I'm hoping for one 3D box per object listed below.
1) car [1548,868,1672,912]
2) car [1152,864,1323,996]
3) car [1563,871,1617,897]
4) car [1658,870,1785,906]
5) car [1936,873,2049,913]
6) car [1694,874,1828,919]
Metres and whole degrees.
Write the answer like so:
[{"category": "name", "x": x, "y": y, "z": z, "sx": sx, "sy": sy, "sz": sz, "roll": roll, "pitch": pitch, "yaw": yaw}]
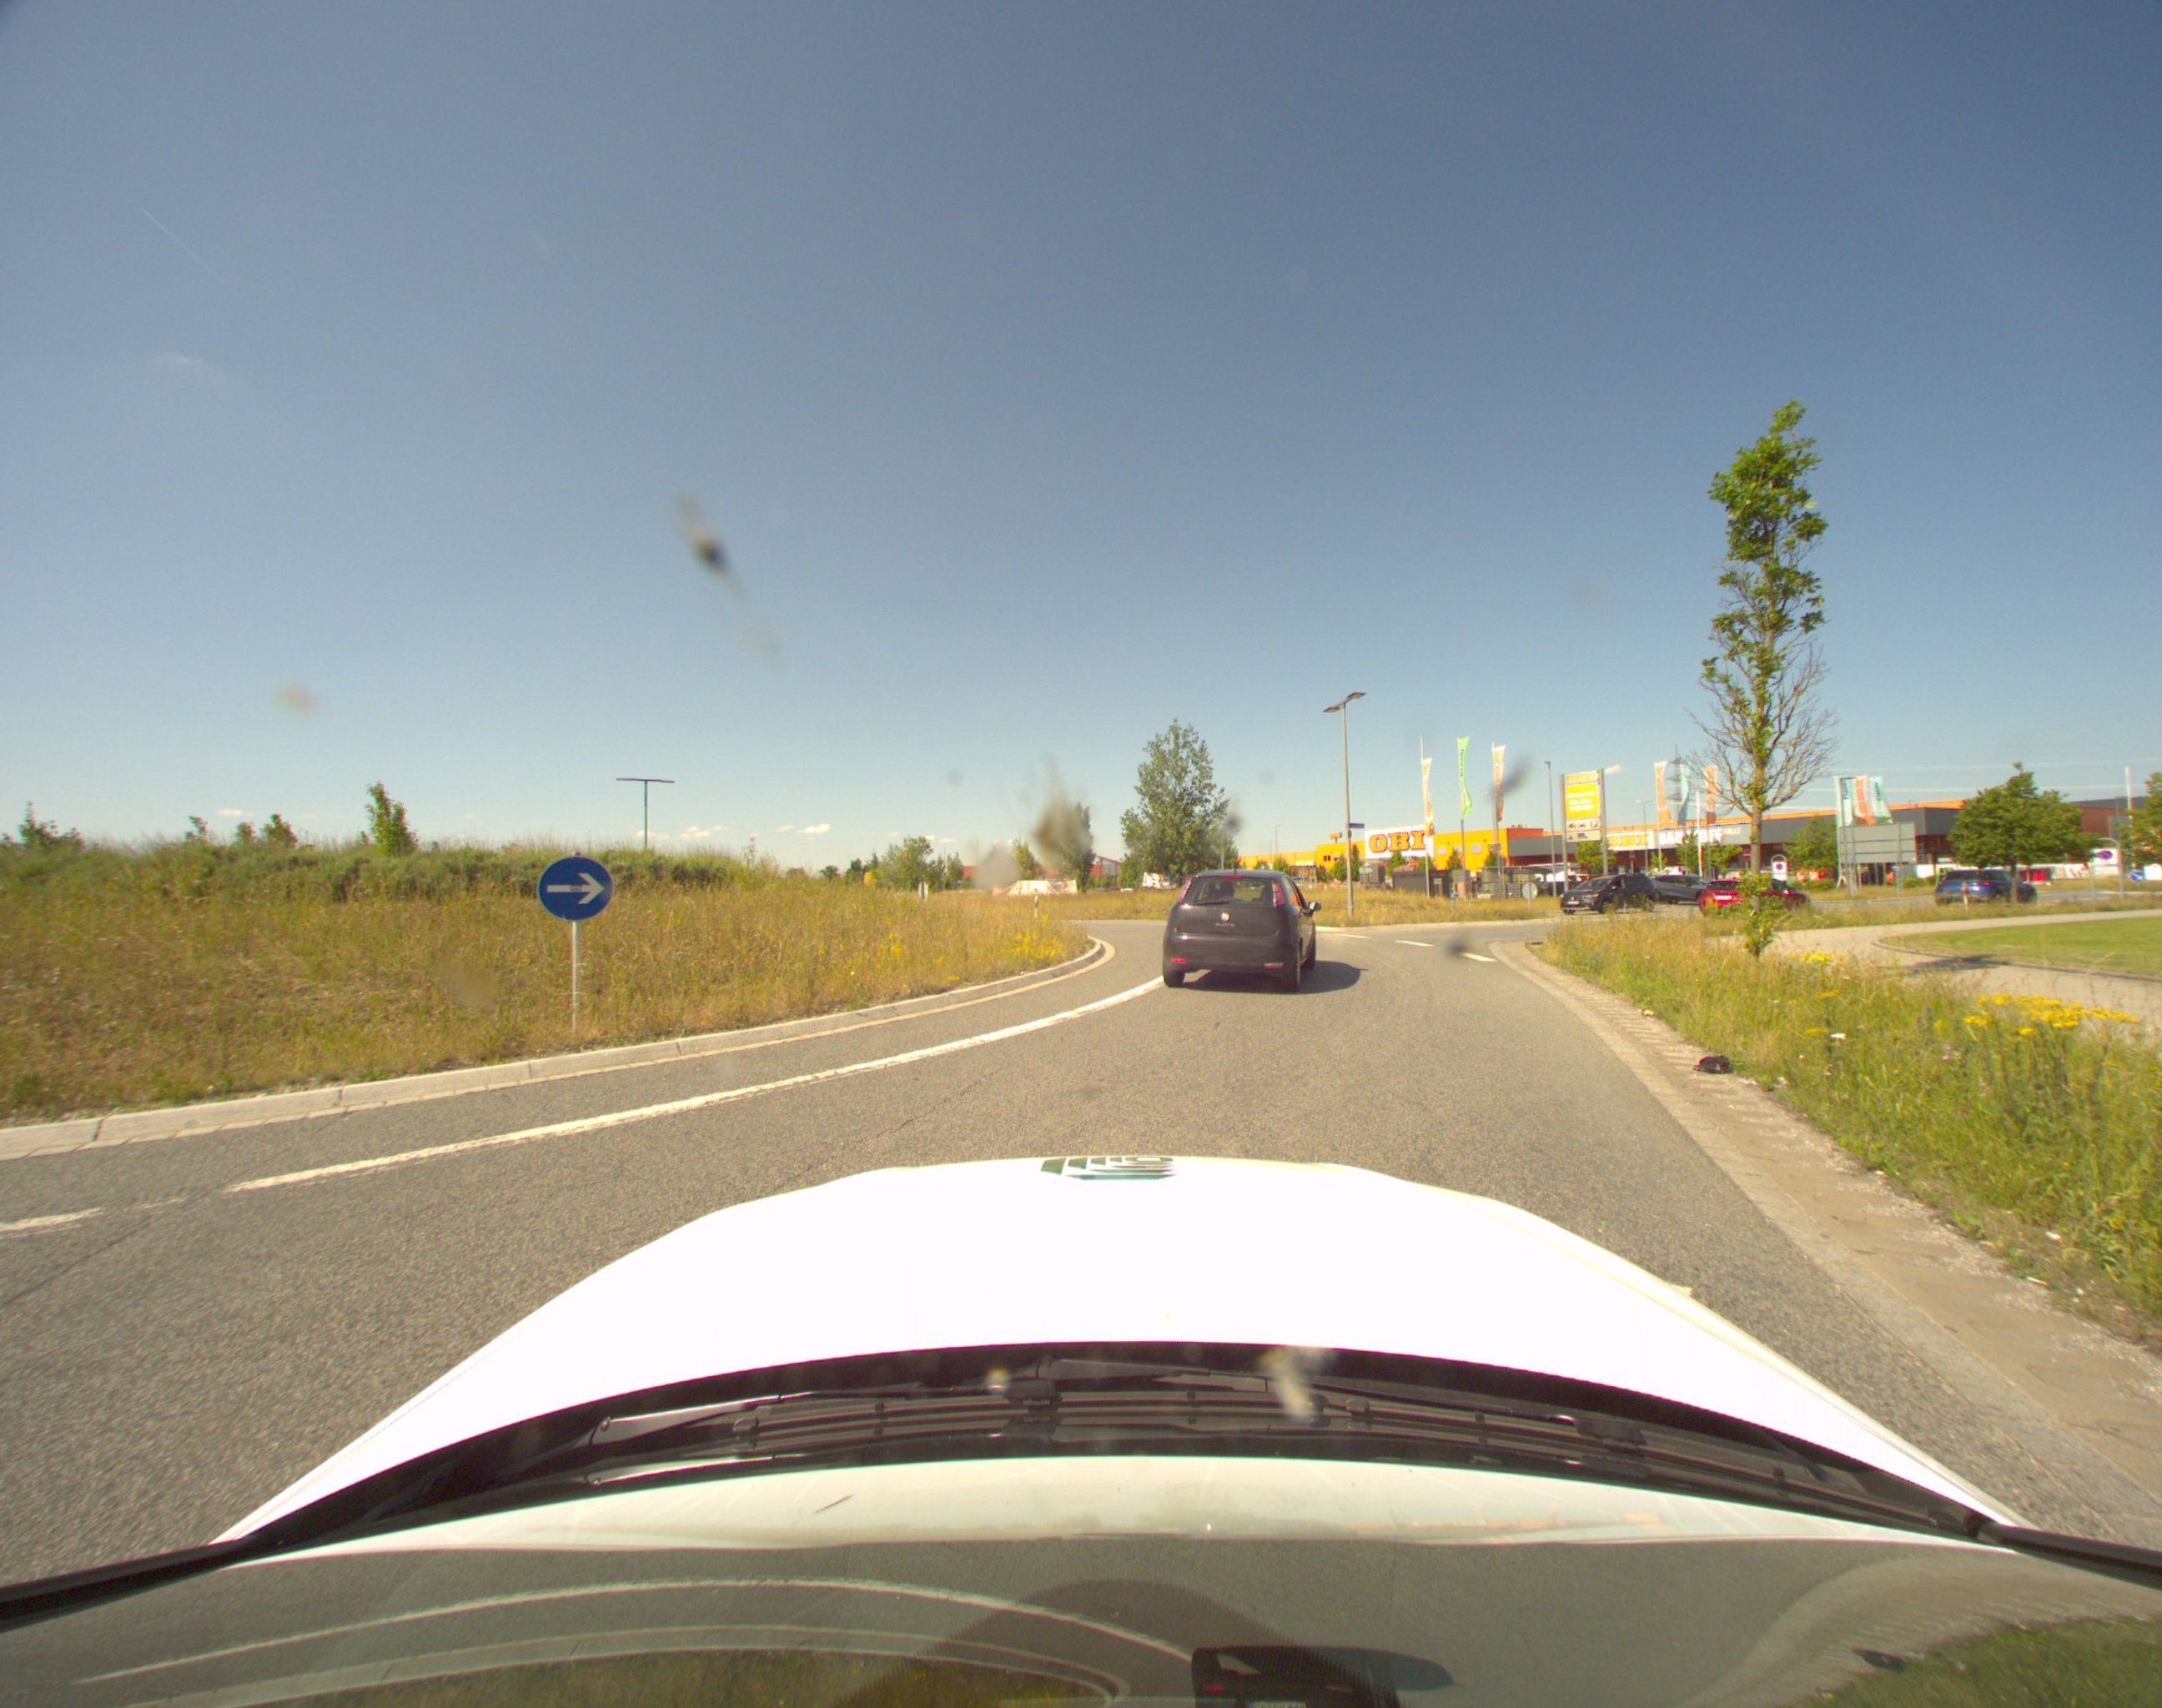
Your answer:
[{"category": "car", "x": 22.181, "y": 1.528, "z": 34.167, "sx": 4.628, "sy": 1.706, "sz": 1.943, "roll": 0, "pitch": -4, "yaw": -21}, {"category": "car", "x": 2.337, "y": 0.913, "z": 11.344, "sx": 1.625, "sy": 1.488, "sz": 3.924, "roll": -1, "pitch": -2, "yaw": 21}, {"category": "car", "x": 38.485, "y": 2.296, "z": 61.539, "sx": 3.780, "sy": 1.842, "sz": 1.686, "roll": 2, "pitch": -4, "yaw": -25}, {"category": "car", "x": 32.295, "y": 1.780, "z": 41.263, "sx": 2.076, "sy": 1.627, "sz": 4.669, "roll": 0, "pitch": -4, "yaw": -16}, {"category": "car", "x": 38.958, "y": 1.649, "z": 34.829, "sx": 4.080, "sy": 1.635, "sz": 1.844, "roll": 1, "pitch": -2, "yaw": -20}, {"category": "car", "x": 23.769, "y": 1.448, "z": 28.465, "sx": 4.119, "sy": 1.416, "sz": 1.795, "roll": 0, "pitch": -2, "yaw": -21}]
